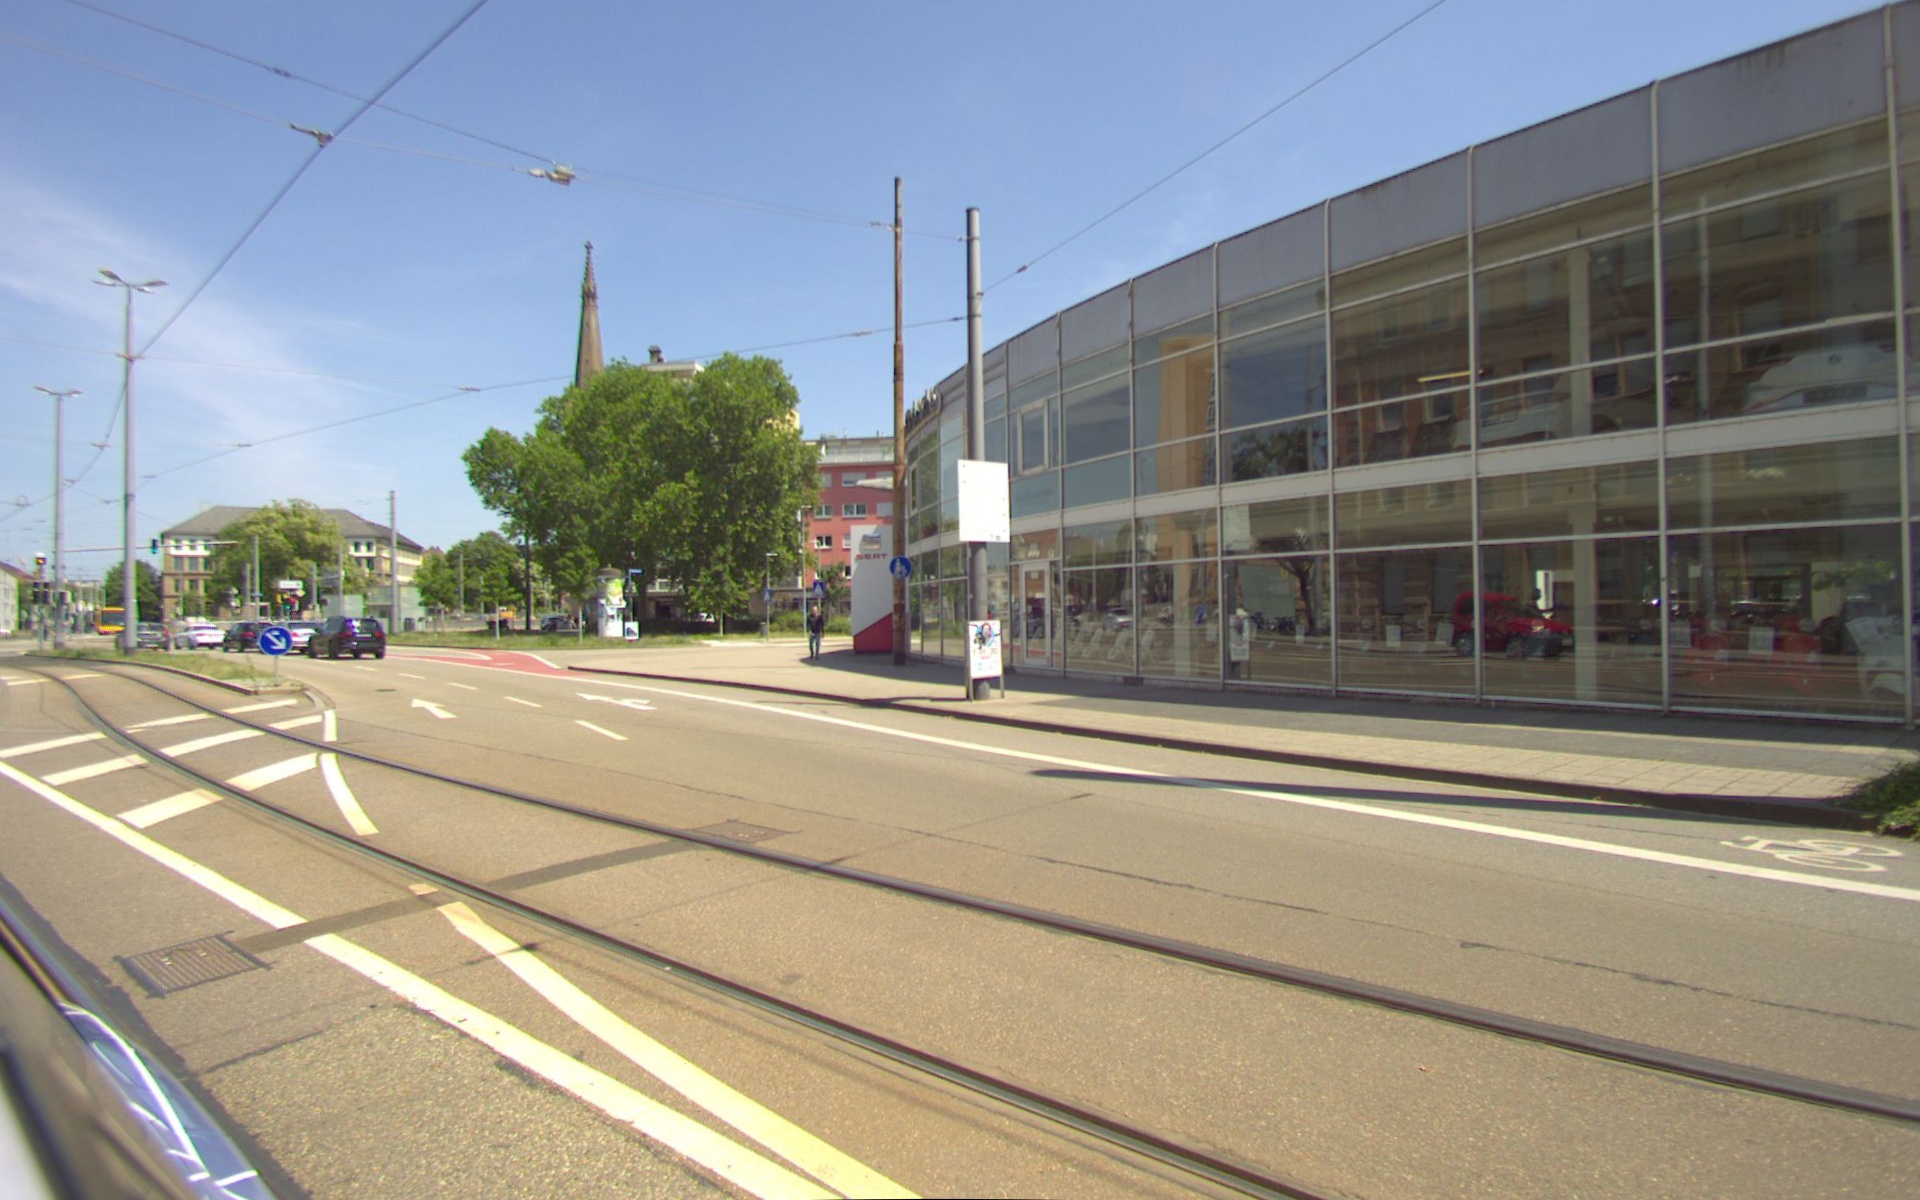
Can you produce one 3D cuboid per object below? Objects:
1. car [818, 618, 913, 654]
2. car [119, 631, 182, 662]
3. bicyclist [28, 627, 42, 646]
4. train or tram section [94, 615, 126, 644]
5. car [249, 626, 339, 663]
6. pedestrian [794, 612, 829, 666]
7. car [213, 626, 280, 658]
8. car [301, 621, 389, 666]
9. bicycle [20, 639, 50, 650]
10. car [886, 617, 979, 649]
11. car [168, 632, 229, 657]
[{"bbox_3d":[-4.177,1.581,44.874,4.004,1.468,1.500,-1,-1,5],"label":"car"},{"bbox_3d":[-41.941,2.410,52.387,4.328,1.491,1.824,-3,-3,41],"label":"car"},{"bbox_3d":[-83.358,3.311,91.195,0.527,1.701,0.803,-2,-1,35],"label":"bicyclist"},{"bbox_3d":[-99.360,3.482,118.266,2.799,3.238,9.123,0,-1,-40],"label":"train or tram section"},{"bbox_3d":[-29.707,1.964,45.084,5.127,1.542,1.973,-1,-3,40],"label":"car"},{"bbox_3d":[-4.703,1.223,32.001,0.820,1.654,0.719,-2,-2,43],"label":"pedestrian"},{"bbox_3d":[-34.191,2.009,48.479,3.900,1.473,1.654,-2,-2,40],"label":"car"},{"bbox_3d":[-24.018,1.679,39.462,4.525,1.639,1.802,-2,-3,43],"label":"car"},{"bbox_3d":[-83.290,3.998,91.133,0.527,0.986,1.884,-2,-1,35],"label":"bicycle"},{"bbox_3d":[-1.300,1.554,47.995,4.150,1.431,1.604,-1,-1,16],"label":"car"},{"bbox_3d":[-41.504,2.407,55.147,4.199,1.309,1.689,-1,-2,40],"label":"car"}]
